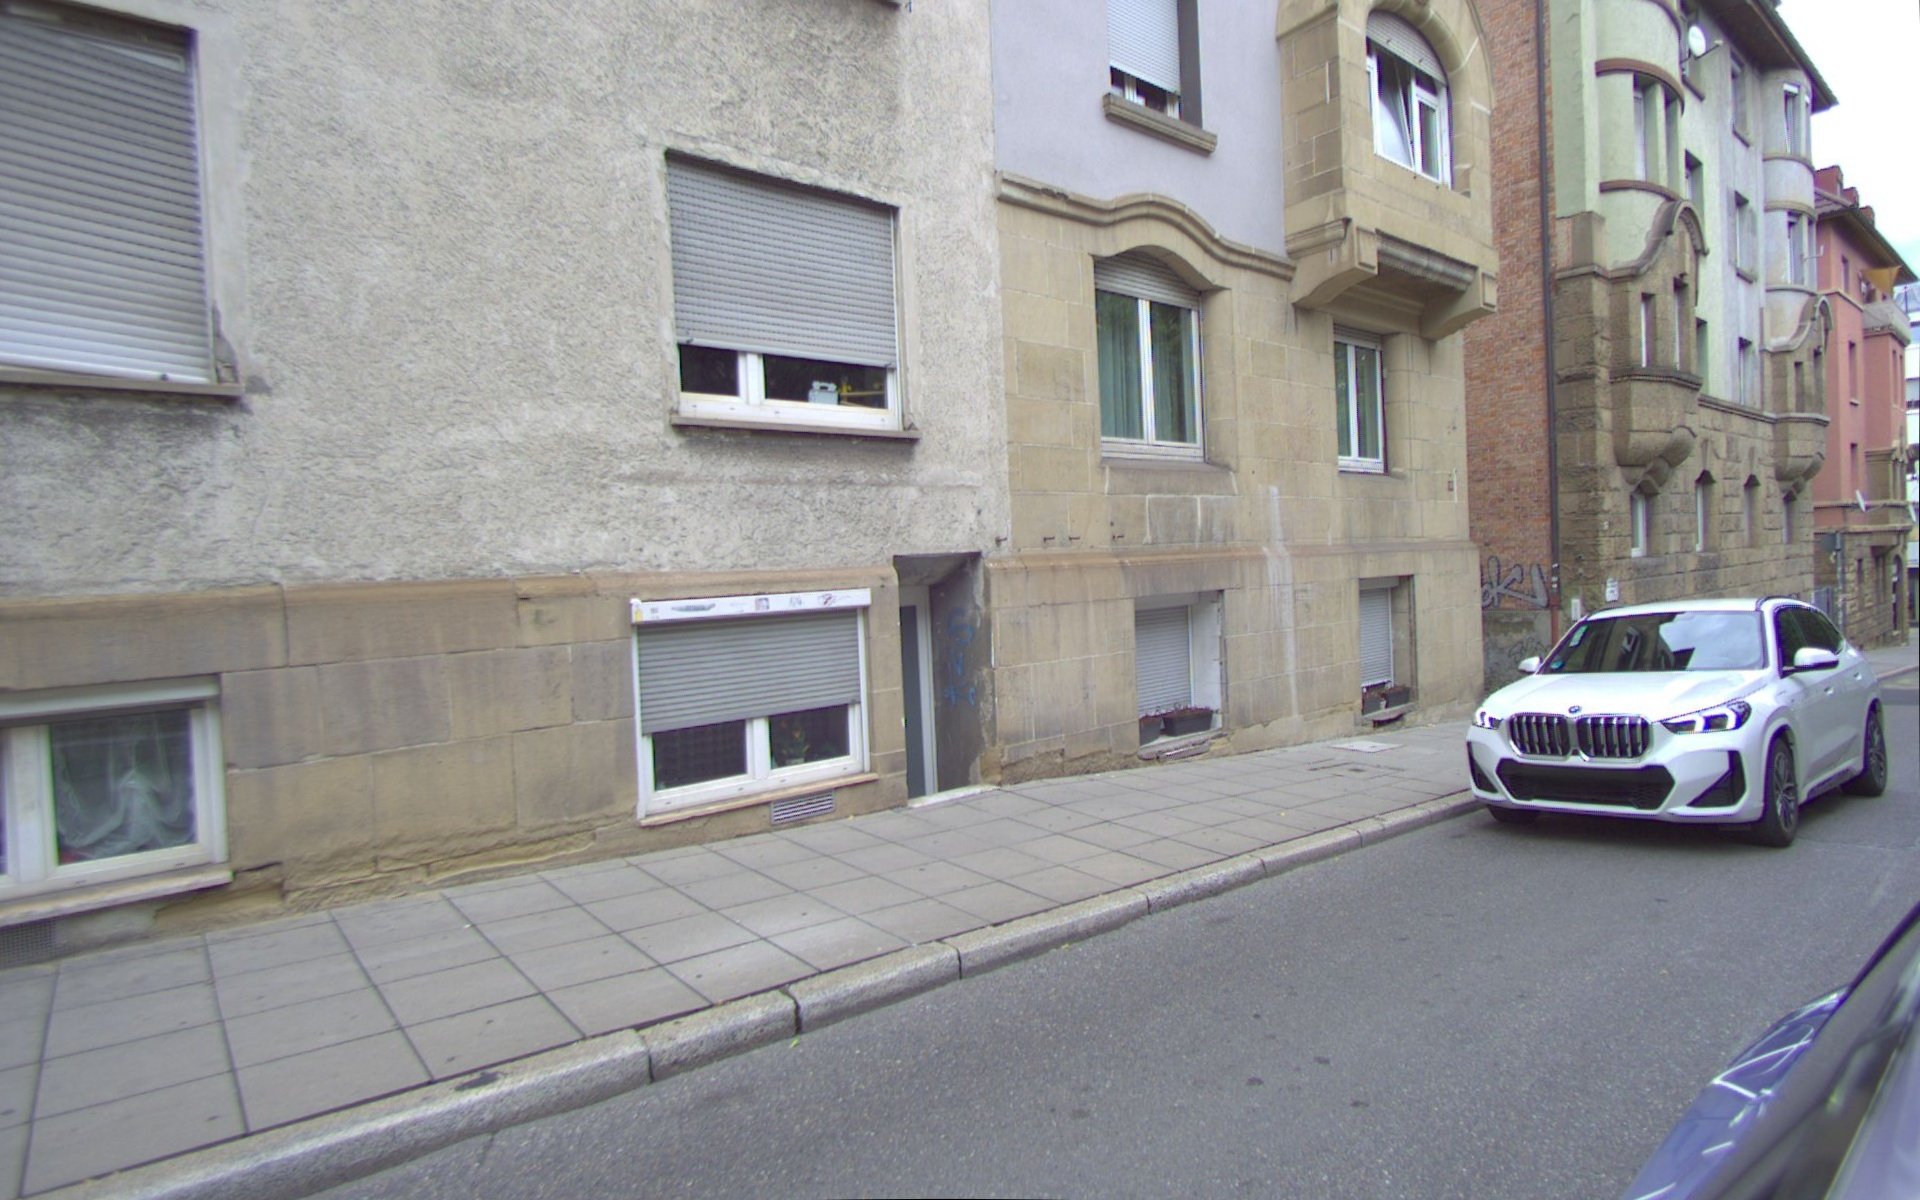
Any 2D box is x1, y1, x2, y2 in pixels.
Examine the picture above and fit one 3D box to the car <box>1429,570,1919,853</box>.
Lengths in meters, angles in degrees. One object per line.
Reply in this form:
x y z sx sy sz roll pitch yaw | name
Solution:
5.802 0.716 7.927 4.479 1.626 1.853 0 -6 -37 | car
